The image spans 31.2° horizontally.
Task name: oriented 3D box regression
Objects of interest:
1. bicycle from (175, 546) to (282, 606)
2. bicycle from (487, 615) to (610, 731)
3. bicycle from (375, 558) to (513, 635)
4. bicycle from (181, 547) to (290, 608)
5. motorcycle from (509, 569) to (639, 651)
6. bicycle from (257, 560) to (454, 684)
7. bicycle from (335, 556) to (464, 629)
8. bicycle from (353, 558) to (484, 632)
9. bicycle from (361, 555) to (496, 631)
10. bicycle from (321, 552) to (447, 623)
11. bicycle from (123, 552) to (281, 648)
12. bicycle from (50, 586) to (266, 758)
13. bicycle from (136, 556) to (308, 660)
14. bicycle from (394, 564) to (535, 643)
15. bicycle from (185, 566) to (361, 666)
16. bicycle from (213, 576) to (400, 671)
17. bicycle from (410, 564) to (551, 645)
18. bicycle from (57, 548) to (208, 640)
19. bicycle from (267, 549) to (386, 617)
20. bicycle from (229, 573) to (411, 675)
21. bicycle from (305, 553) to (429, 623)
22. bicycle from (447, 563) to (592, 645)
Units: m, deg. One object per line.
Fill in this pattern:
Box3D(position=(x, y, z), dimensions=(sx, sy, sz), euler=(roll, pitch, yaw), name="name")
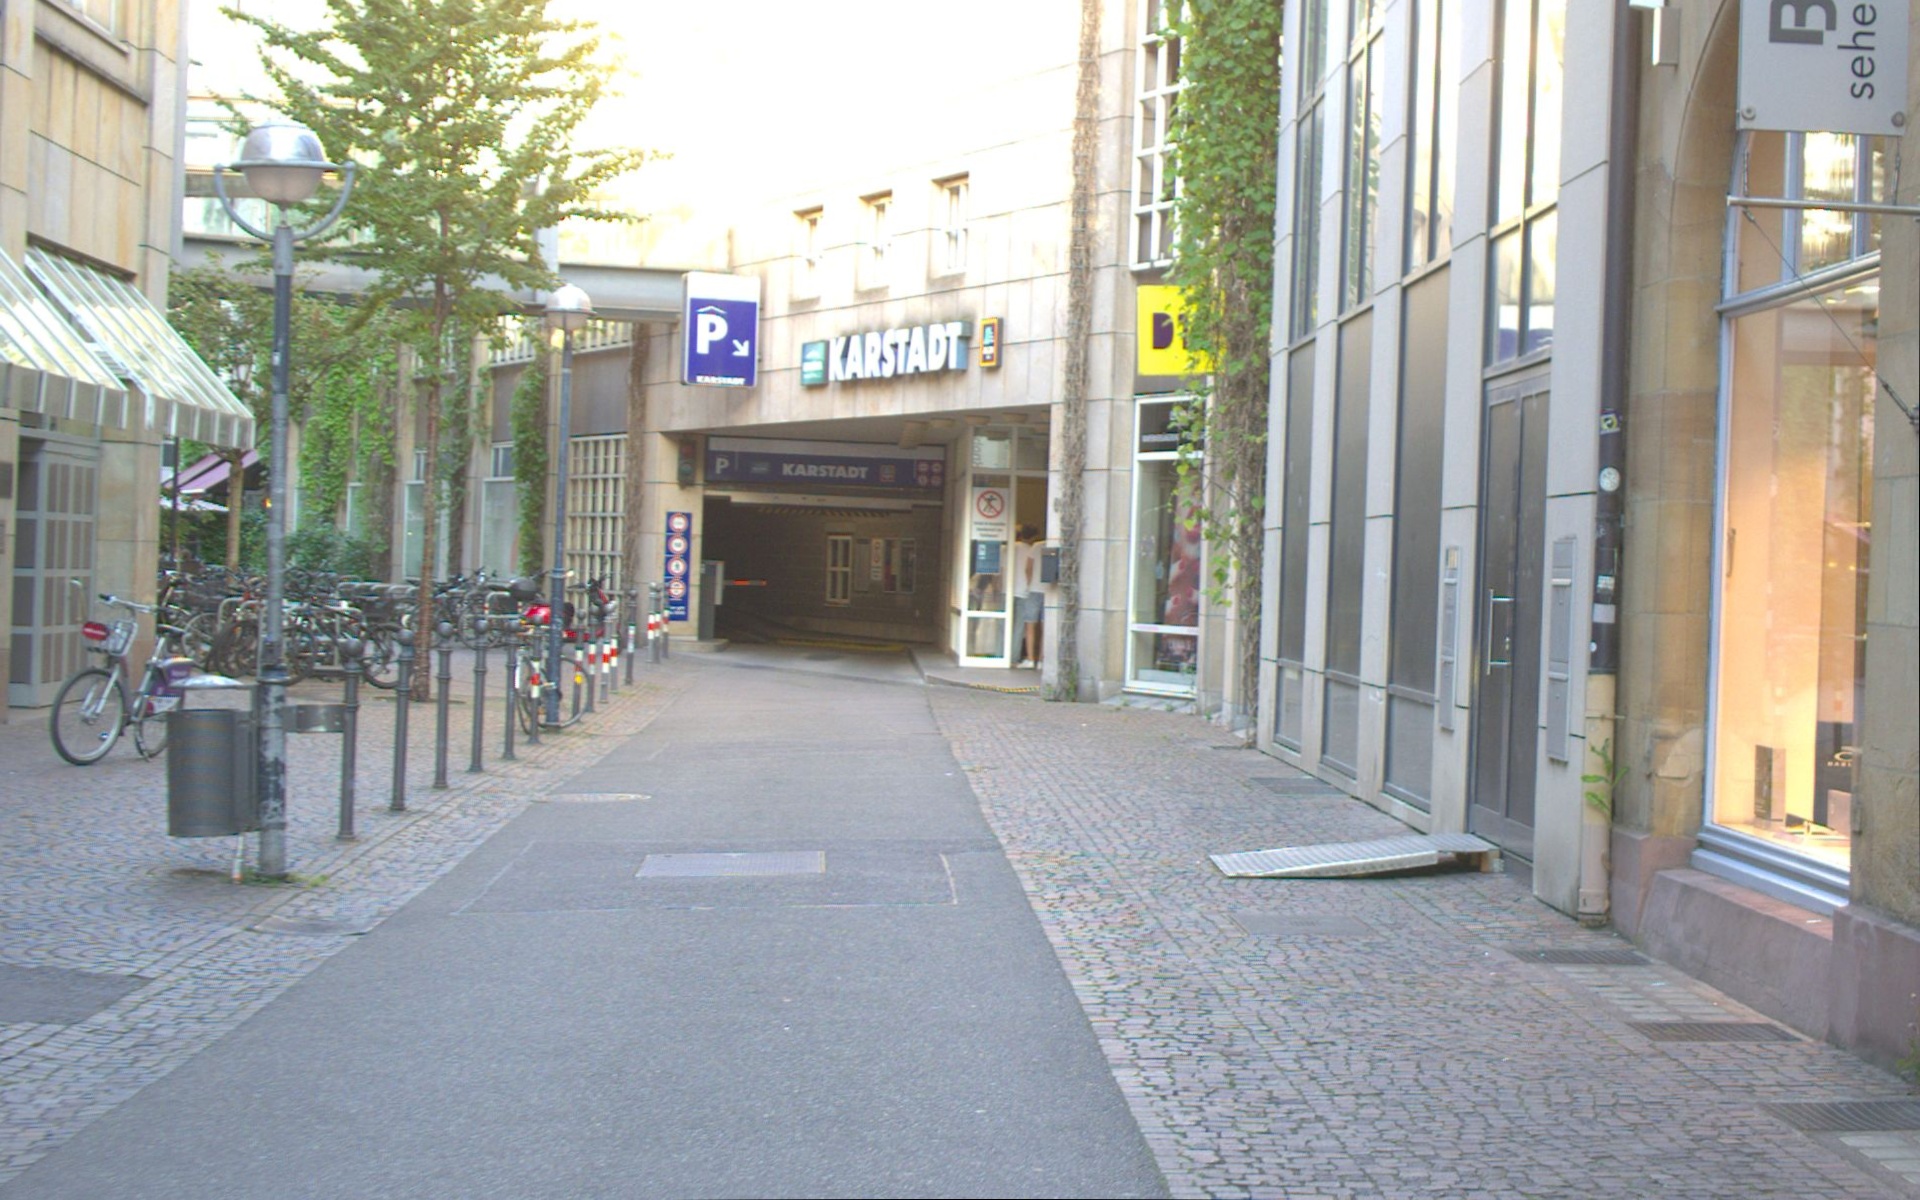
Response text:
Box3D(position=(-14.425, -0.474, 67.798), dimensions=(1.993, 1.178, 0.694), euler=(0, 1, -21), name="bicycle")
Box3D(position=(-3.631, 0.632, 30.481), dimensions=(0.505, 0.963, 1.694), euler=(2, 1, 13), name="bicycle")
Box3D(position=(-8.032, -0.061, 53.475), dimensions=(1.993, 1.178, 0.803), euler=(0, 1, -21), name="bicycle")
Box3D(position=(-14.127, -0.440, 66.994), dimensions=(1.993, 1.178, 0.694), euler=(0, 1, -21), name="bicycle")
Box3D(position=(-5.499, 0.143, 48.985), dimensions=(1.745, 1.151, 0.595), euler=(0, 1, -18), name="motorcycle")
Box3D(position=(-6.465, 0.235, 36.761), dimensions=(1.912, 1.256, 0.809), euler=(2, 1, -21), name="bicycle")
Box3D(position=(-9.253, -0.127, 56.772), dimensions=(1.993, 1.178, 0.694), euler=(0, 1, -21), name="bicycle")
Box3D(position=(-8.801, -0.085, 55.900), dimensions=(1.993, 1.178, 0.694), euler=(0, 1, -21), name="bicycle")
Box3D(position=(-8.474, -0.117, 54.815), dimensions=(1.993, 1.178, 0.803), euler=(0, 1, -21), name="bicycle")
Box3D(position=(-9.711, -0.210, 57.997), dimensions=(1.993, 1.178, 0.694), euler=(0, 1, -21), name="bicycle")
Box3D(position=(-9.873, -0.001, 44.796), dimensions=(1.912, 1.178, 0.696), euler=(2, 1, -18), name="bicycle")
Box3D(position=(-5.476, 0.473, 23.575), dimensions=(0.694, 1.108, 1.775), euler=(2, 1, 13), name="bicycle")
Box3D(position=(-8.833, 0.093, 41.126), dimensions=(1.912, 1.178, 0.696), euler=(2, 1, -18), name="bicycle")
Box3D(position=(-7.547, 0.045, 52.354), dimensions=(1.993, 1.178, 0.803), euler=(0, 1, -21), name="bicycle")
Box3D(position=(-8.041, 0.188, 40.245), dimensions=(1.912, 1.098, 0.696), euler=(2, 1, -18), name="bicycle")
Box3D(position=(-7.248, 0.263, 38.157), dimensions=(1.912, 0.991, 0.696), euler=(2, 1, -21), name="bicycle")
Box3D(position=(-7.182, 0.063, 51.481), dimensions=(1.993, 1.178, 0.696), euler=(0, 1, -21), name="bicycle")
Box3D(position=(-11.205, -0.077, 46.546), dimensions=(1.912, 1.178, 0.696), euler=(2, 1, -18), name="bicycle")
Box3D(position=(-11.312, -0.308, 61.394), dimensions=(1.993, 1.178, 0.694), euler=(0, 1, -21), name="bicycle")
Box3D(position=(-7.274, 0.273, 39.076), dimensions=(1.912, 1.098, 0.696), euler=(2, 1, -21), name="bicycle")
Box3D(position=(-10.188, -0.216, 59.061), dimensions=(1.993, 1.178, 0.694), euler=(0, 1, -21), name="bicycle")
Box3D(position=(-6.477, 0.048, 50.537), dimensions=(1.993, 1.178, 0.696), euler=(0, 1, -21), name="bicycle")
